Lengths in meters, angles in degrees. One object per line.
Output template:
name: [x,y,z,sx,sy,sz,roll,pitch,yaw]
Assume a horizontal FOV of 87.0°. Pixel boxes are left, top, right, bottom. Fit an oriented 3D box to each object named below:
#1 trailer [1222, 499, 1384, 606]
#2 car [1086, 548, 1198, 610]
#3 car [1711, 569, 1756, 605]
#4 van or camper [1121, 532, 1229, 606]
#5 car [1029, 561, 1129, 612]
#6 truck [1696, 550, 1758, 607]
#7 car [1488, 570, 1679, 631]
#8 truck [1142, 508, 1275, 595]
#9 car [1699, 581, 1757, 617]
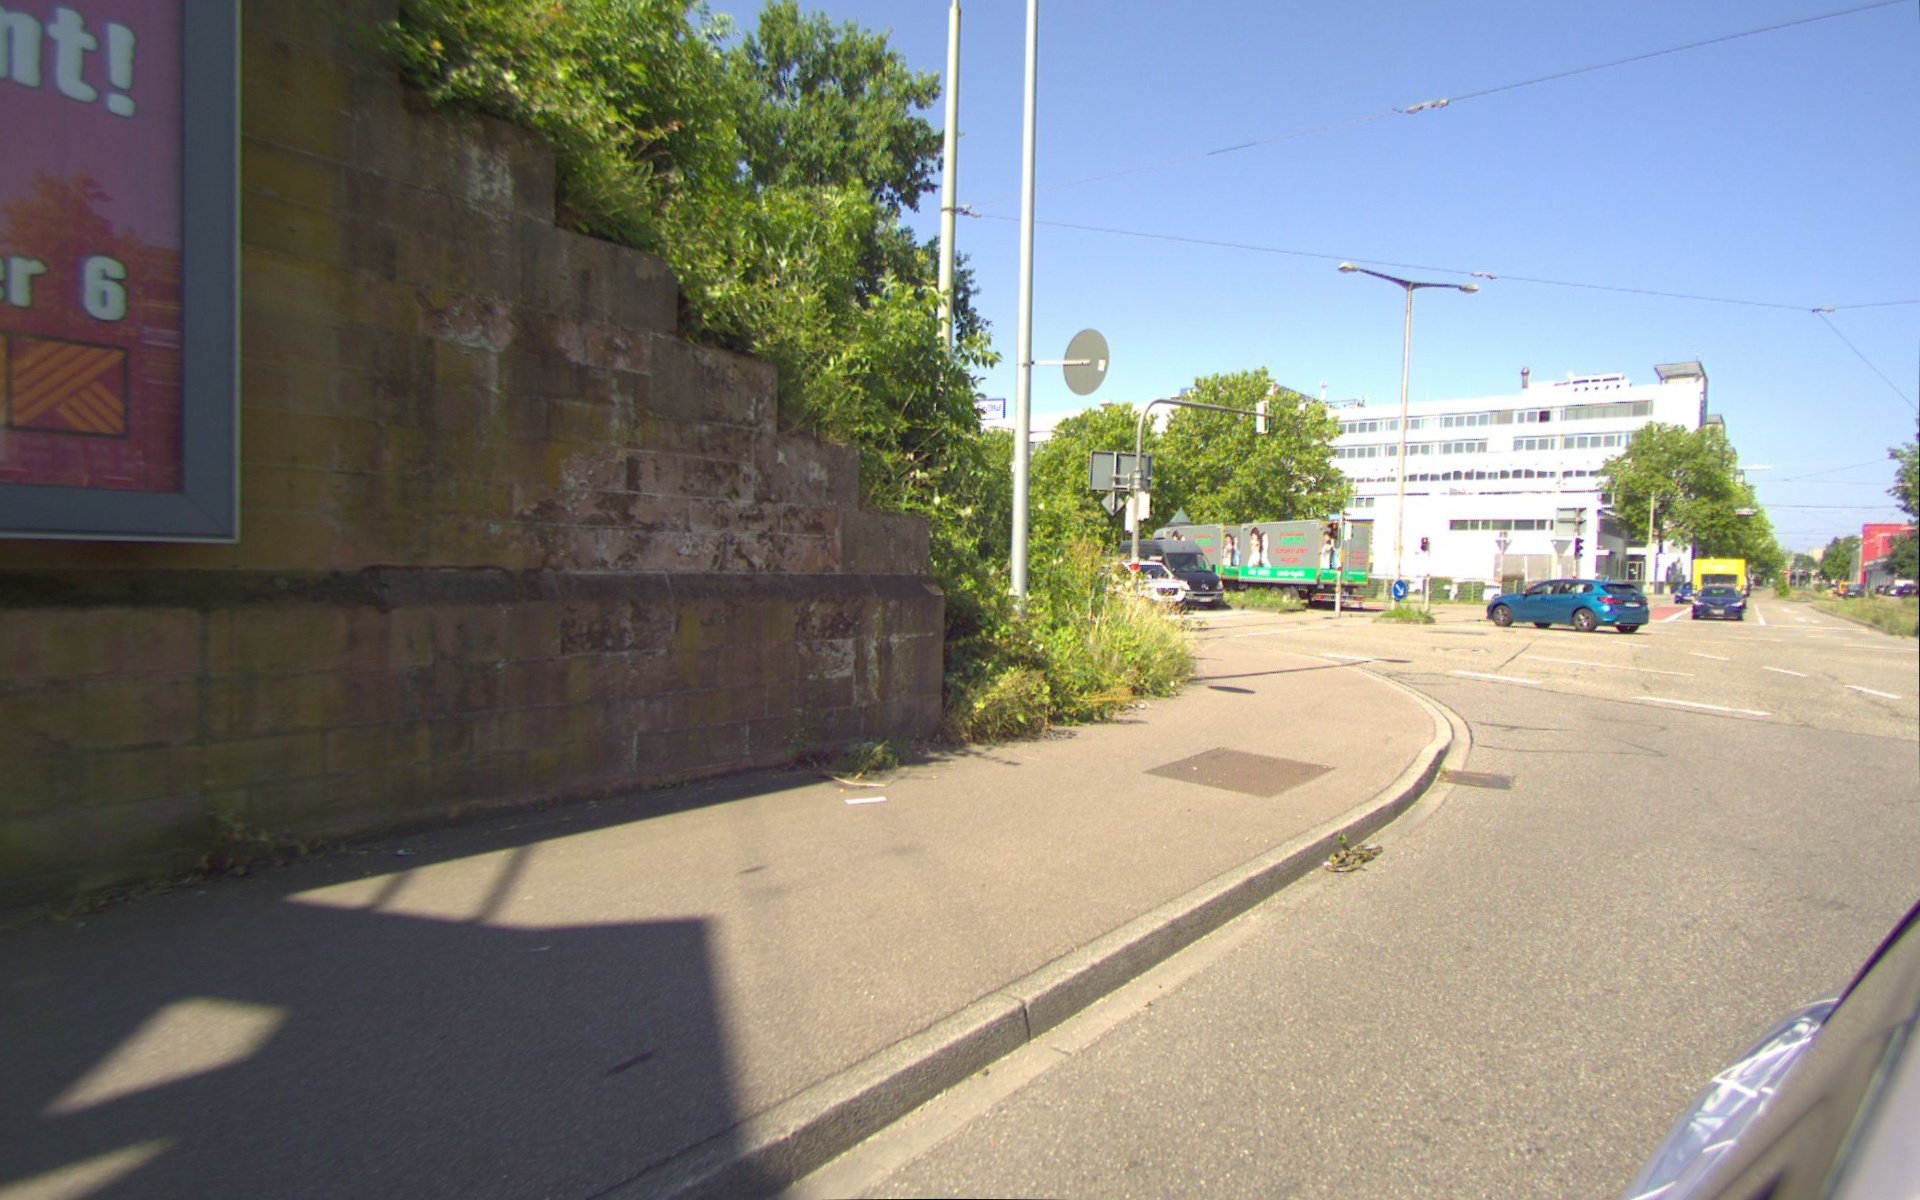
trailer: [14.827,-1.915,44.560,2.879,4.279,7.817,1,0,-15]
car: [6.268,-0.689,35.578,1.958,2.039,4.894,1,0,-15]
car: [46.453,-0.814,60.817,1.989,2.038,3.948,3,3,36]
van or camper: [8.093,-1.107,38.628,1.958,2.618,5.157,1,0,-14]
car: [3.812,-0.414,33.202,1.958,1.571,4.008,1,0,-14]
truck: [41.546,-1.089,54.960,2.395,2.899,5.732,0,0,34]
car: [17.254,-0.036,28.266,1.958,1.450,4.206,1,2,-19]
truck: [12.687,-2.343,52.589,2.879,4.096,8.670,1,0,-15]
car: [32.182,-0.070,42.480,1.814,1.370,3.948,3,3,36]
